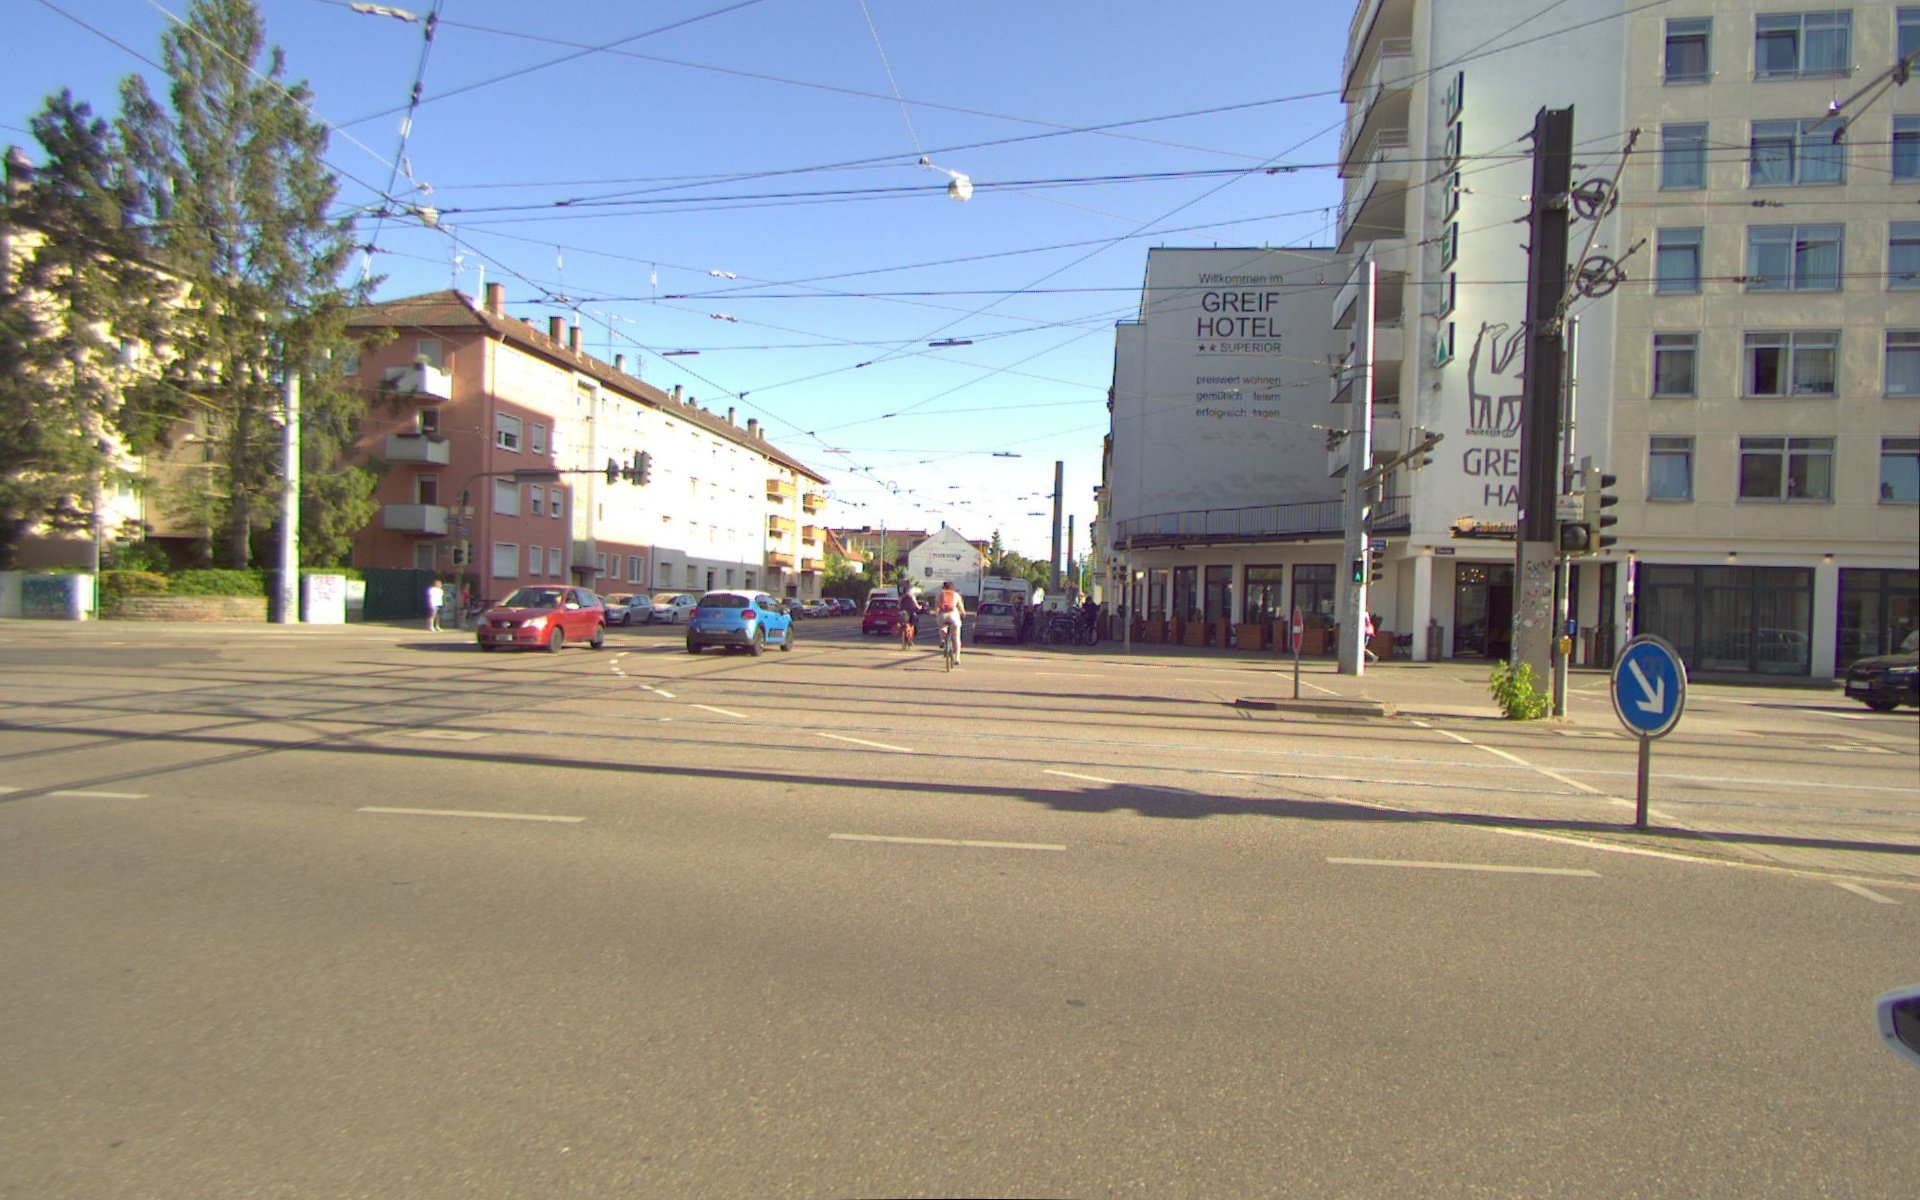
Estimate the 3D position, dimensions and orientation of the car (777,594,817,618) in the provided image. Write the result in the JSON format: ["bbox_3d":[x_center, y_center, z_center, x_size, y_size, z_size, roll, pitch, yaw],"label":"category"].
[{"bbox_3d":[-12.088,0.452,74.609,1.838,1.597,4.002,4,0,6],"label":"car"}]

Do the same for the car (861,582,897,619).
[{"bbox_3d":[-7.399,0.038,92.292,2.377,3.183,3.490,4,0,8],"label":"car"}]

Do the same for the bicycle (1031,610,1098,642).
[{"bbox_3d":[3.554,0.877,34.162,2.213,1.015,0.857,1,0,6],"label":"bicycle"}]

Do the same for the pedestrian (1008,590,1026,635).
[{"bbox_3d":[2.195,0.463,38.707,0.602,1.675,0.671,4,0,4],"label":"pedestrian"}]

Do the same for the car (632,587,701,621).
[{"bbox_3d":[-14.978,0.202,51.487,1.712,1.546,4.232,4,0,8],"label":"car"}]

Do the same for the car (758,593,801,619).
[{"bbox_3d":[-12.574,0.415,70.344,1.838,1.597,4.002,4,0,6],"label":"car"}]

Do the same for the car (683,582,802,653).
[{"bbox_3d":[-5.094,0.400,24.038,1.707,1.472,3.664,3,0,5],"label":"car"}]

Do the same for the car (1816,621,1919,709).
[{"bbox_3d":[19.361,1.305,19.352,3.964,1.596,1.796,3,0,9],"label":"car"}]

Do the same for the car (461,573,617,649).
[{"bbox_3d":[-9.330,0.234,22.634,1.749,1.505,3.829,2,0,2],"label":"car"}]

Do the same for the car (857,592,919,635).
[{"bbox_3d":[-2.880,0.516,40.930,1.754,1.542,3.764,4,1,6],"label":"car"}]

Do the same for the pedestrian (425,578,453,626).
[{"bbox_3d":[-17.419,0.070,33.579,0.507,1.589,0.574,4,0,8],"label":"pedestrian"}]

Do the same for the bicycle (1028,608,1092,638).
[{"bbox_3d":[3.543,0.816,35.559,2.213,1.015,0.857,1,0,6],"label":"bicycle"}]

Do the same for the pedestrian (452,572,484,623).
[{"bbox_3d":[-17.463,-0.085,35.653,0.770,1.744,0.703,4,0,-12],"label":"pedestrian"}]

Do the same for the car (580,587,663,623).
[{"bbox_3d":[-15.568,0.236,46.412,1.871,1.455,4.105,4,0,9],"label":"car"}]

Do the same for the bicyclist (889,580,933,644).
[{"bbox_3d":[-1.359,0.341,28.166,0.924,1.695,1.080,4,0,10],"label":"bicyclist"}]

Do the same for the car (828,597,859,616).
[{"bbox_3d":[-10.383,0.577,89.885,1.838,1.597,4.002,4,0,6],"label":"car"}]

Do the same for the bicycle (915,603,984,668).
[{"bbox_3d":[-0.182,0.698,20.325,0.797,1.197,2.065,4,0,15],"label":"bicycle"}]

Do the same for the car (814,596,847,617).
[{"bbox_3d":[-10.903,0.538,84.804,1.838,1.597,4.002,4,0,6],"label":"car"}]

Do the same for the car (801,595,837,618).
[{"bbox_3d":[-11.167,0.517,79.632,1.838,1.597,4.002,4,0,6],"label":"car"}]

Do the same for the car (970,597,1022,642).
[{"bbox_3d":[1.376,0.694,36.671,1.630,1.450,3.890,4,0,5],"label":"car"}]

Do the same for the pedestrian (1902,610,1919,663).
[{"bbox_3d":[25.636,0.990,26.726,0.591,1.394,0.500,4,0,-5],"label":"pedestrian"}]

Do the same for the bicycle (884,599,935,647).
[{"bbox_3d":[-1.382,0.631,28.083,0.924,1.240,2.096,4,0,10],"label":"bicycle"}]

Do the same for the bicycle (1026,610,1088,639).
[{"bbox_3d":[3.531,0.881,36.692,2.213,1.015,0.857,1,0,6],"label":"bicycle"}]

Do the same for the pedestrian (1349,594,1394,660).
[{"bbox_3d":[11.456,0.747,27.963,0.891,1.769,0.737,4,0,8],"label":"pedestrian"}]

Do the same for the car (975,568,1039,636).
[{"bbox_3d":[2.035,0.084,41.626,2.227,2.514,5.011,3,0,6],"label":"car"}]

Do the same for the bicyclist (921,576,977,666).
[{"bbox_3d":[-0.215,0.417,20.149,0.797,1.714,0.935,4,0,15],"label":"bicyclist"}]
